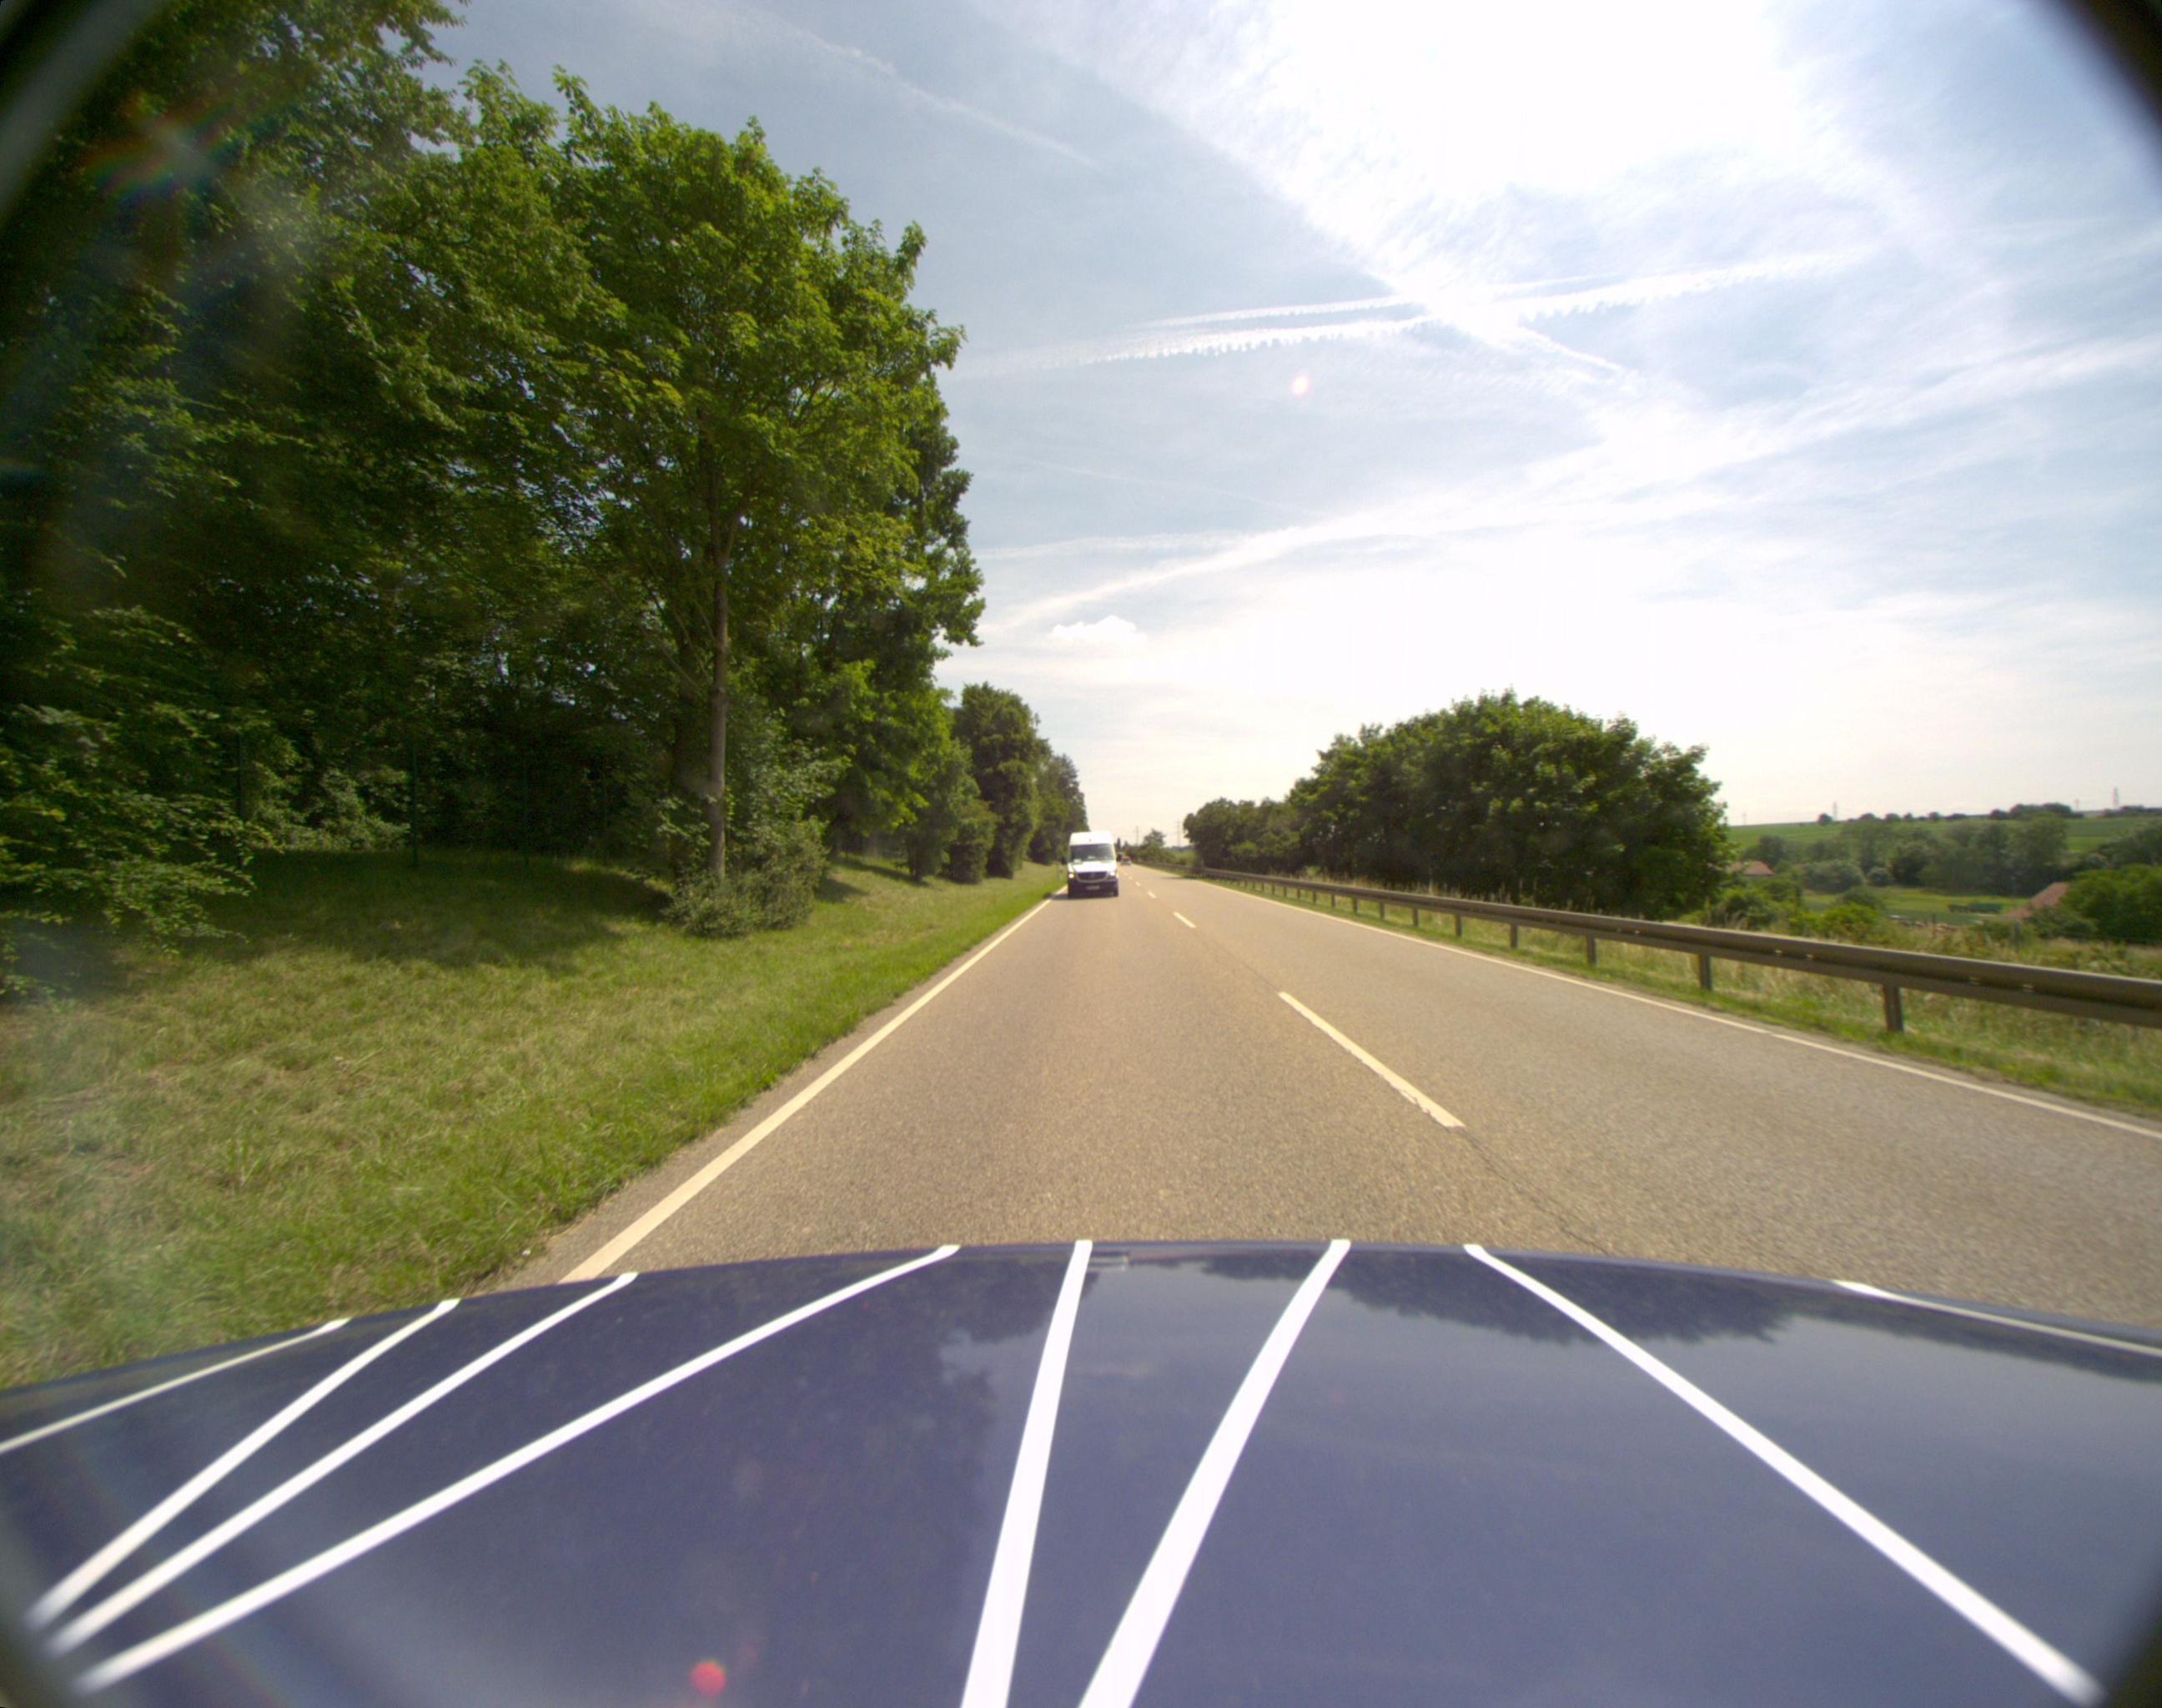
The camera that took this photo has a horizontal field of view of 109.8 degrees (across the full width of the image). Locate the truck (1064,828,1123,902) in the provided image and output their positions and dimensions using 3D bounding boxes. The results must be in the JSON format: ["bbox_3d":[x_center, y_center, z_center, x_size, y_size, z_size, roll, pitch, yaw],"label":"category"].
[{"bbox_3d":[0.583,0.398,30.424,2.022,2.567,7.226,-2,0,2],"label":"truck"}]

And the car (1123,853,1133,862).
[{"bbox_3d":[8.117,0.559,131.611,1.561,1.454,3.550,-2,0,3],"label":"car"}]
